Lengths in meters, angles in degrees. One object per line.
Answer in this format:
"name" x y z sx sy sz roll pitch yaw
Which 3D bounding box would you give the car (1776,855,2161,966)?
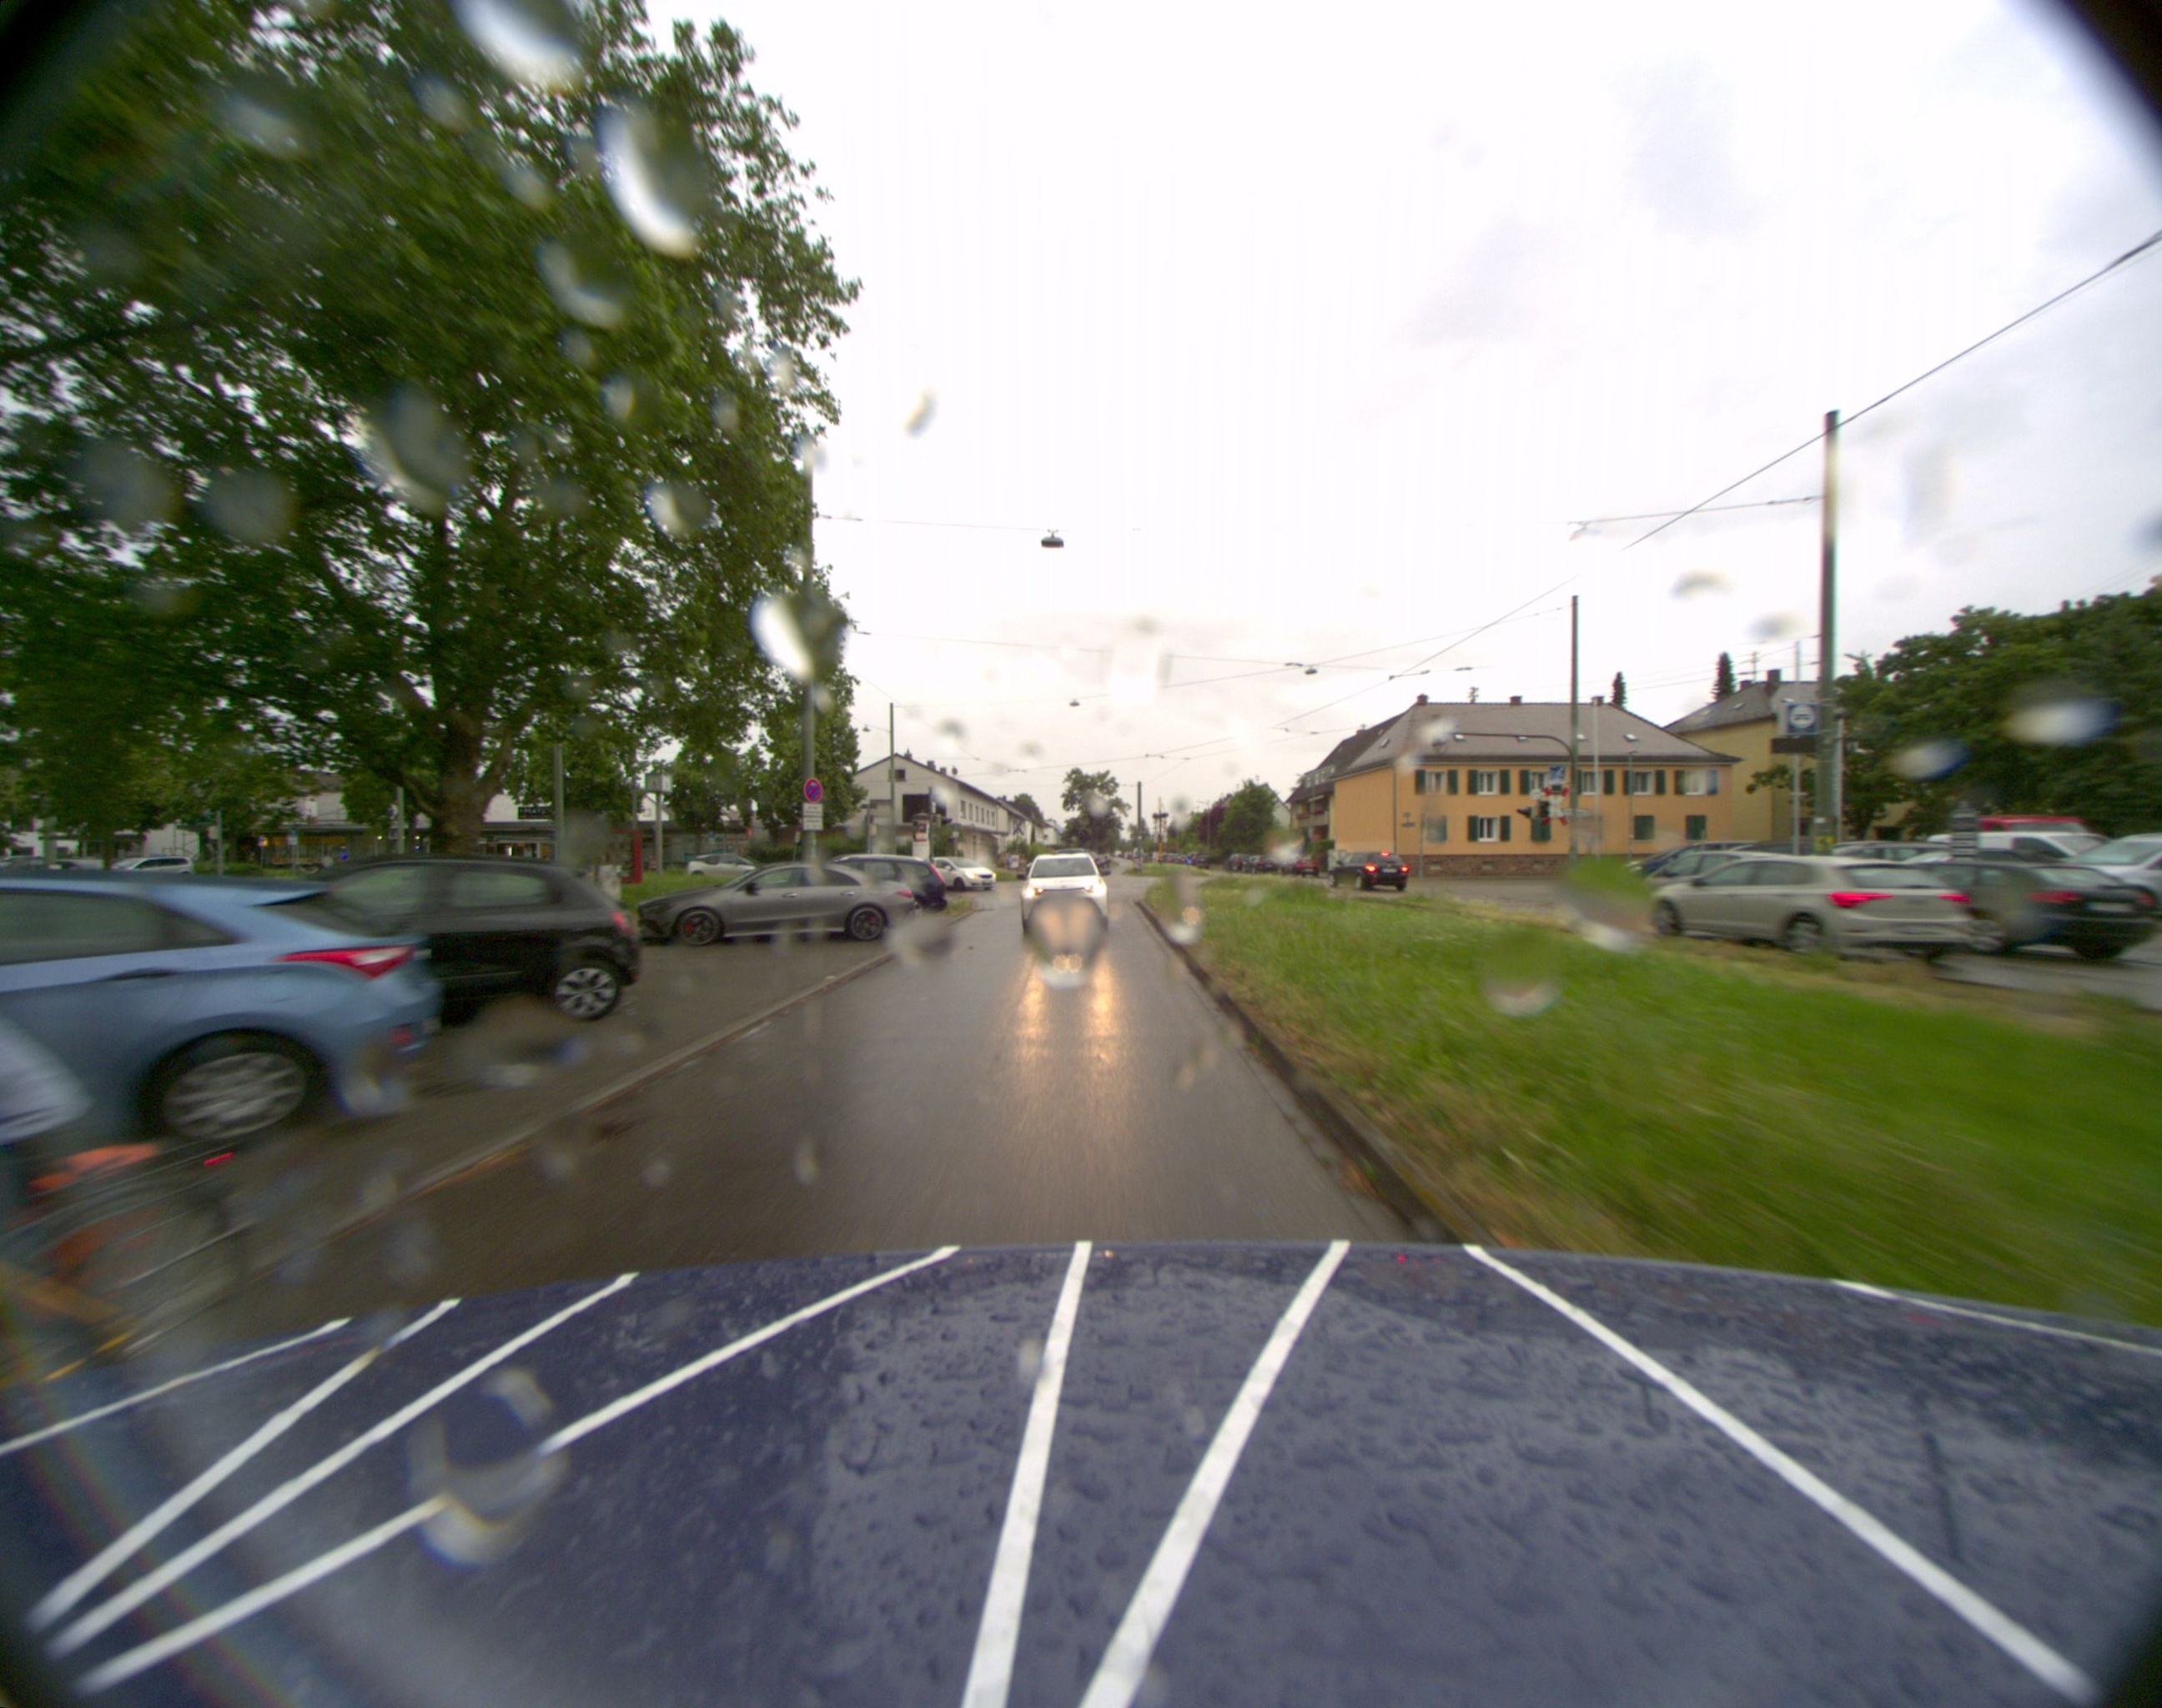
"car" 14.308 0.771 12.585 1.721 1.331 4.388 0 2 4

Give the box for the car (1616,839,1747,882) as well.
"car" 23.245 0.265 29.588 3.861 1.569 1.811 0 0 33

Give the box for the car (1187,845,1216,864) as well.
"car" 12.434 0.025 78.902 2.000 1.784 3.996 -1 3 -6

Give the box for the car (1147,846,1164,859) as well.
"car" 10.690 -0.224 109.263 1.999 1.784 3.998 0 3 -1

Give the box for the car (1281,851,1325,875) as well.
"car" 14.533 0.573 49.941 1.722 1.331 3.614 0 3 -2

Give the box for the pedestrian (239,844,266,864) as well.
"pedestrian" -65.828 -0.038 60.386 0.946 1.575 1.081 1 1 13

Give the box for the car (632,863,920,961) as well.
"car" -5.395 0.924 13.700 4.556 1.467 1.800 0 0 -28

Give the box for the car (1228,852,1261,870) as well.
"car" 13.895 0.542 64.768 1.759 1.325 3.997 0 3 -2

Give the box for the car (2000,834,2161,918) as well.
"car" 21.311 0.416 14.923 3.865 1.569 1.809 0 0 12

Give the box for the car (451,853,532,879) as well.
"car" -36.835 0.711 47.572 3.625 1.495 1.549 -1 3 -15

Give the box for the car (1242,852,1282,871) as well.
"car" 13.957 0.526 58.771 1.966 1.388 4.504 0 1 -1

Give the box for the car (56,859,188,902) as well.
"car" -47.414 1.290 37.642 3.996 2.003 1.999 0 3 3

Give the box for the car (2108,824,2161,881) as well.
"car" 32.728 -0.040 21.286 1.998 1.677 4.448 1 0 3

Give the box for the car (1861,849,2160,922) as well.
"car" 21.562 0.663 17.872 4.049 1.496 1.835 1 3 18

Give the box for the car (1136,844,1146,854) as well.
"car" 12.262 -1.065 155.584 1.998 2.023 3.998 0 3 1

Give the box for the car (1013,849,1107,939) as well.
"car" -0.325 0.750 16.260 1.719 1.614 3.714 -2 1 2

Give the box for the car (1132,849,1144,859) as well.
"car" 11.068 0.016 148.467 1.999 1.784 3.998 0 3 -1

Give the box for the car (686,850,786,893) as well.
"car" -17.126 0.858 37.871 3.996 2.003 1.999 0 3 2

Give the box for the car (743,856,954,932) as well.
"car" -5.137 0.792 16.871 4.183 1.467 1.800 0 0 -29

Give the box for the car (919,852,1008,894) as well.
"car" -5.123 0.761 32.715 1.968 1.544 3.987 0 2 -40

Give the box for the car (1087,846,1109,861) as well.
"car" 1.848 -0.077 81.356 1.787 1.454 4.002 0 3 11

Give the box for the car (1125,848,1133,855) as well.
"car" 13.495 -0.804 214.428 1.999 1.784 3.998 0 3 -1

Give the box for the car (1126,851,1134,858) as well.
"car" 12.999 0.108 201.638 1.999 1.784 3.998 0 3 -1

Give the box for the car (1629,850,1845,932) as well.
"car" 14.302 0.726 16.870 1.721 1.496 3.643 0 3 3

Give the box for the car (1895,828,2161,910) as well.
"car" 25.641 0.356 20.831 1.998 2.002 4.448 1 0 3

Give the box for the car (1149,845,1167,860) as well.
"car" 10.283 -0.256 101.593 1.999 1.784 3.998 0 3 -1

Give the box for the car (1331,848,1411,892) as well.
"car" 11.344 0.572 30.021 1.740 1.478 3.999 0 3 2

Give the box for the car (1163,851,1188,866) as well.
"car" 9.535 0.411 76.805 1.999 1.467 3.999 0 0 -1

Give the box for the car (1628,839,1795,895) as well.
"car" 20.393 0.394 24.815 3.988 1.707 2.004 0 0 33

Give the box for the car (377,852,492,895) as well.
"car" -32.251 0.944 37.977 3.996 2.003 1.999 0 3 3

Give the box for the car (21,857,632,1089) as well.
"car" -6.154 0.840 6.816 3.524 1.497 1.749 1 1 -35

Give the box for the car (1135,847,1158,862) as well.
"car" 6.690 0.065 78.337 1.999 1.467 3.999 0 0 -1

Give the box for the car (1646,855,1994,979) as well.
"car" 10.793 0.800 11.561 1.604 1.416 3.819 0 3 2

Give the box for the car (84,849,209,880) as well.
"car" -55.946 0.587 45.626 1.998 1.664 4.337 -1 2 1

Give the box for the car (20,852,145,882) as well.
"car" -60.176 0.738 45.917 1.998 1.562 4.090 -1 2 1

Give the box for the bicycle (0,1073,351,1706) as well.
"bicycle" -2.580 1.173 1.262 0.754 1.066 1.928 0 -1 7

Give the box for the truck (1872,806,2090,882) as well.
"truck" 30.099 -0.319 25.796 1.995 2.259 6.112 1 0 21

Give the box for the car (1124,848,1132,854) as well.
"car" 13.586 -0.853 221.259 1.999 1.784 3.998 0 3 -1

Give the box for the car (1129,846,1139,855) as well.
"car" 12.314 -0.793 177.402 1.999 1.784 3.998 0 3 -1

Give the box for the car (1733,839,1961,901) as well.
"car" 20.977 0.370 21.079 4.047 1.496 1.836 1 3 29

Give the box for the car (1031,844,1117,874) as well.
"car" -0.395 0.255 44.032 4.562 1.597 2.002 1 3 20

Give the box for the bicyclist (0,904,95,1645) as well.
"bicyclist" -2.576 0.845 1.281 0.752 1.476 0.847 0 0 7

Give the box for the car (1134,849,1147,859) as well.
"car" 10.749 -0.013 137.731 1.999 1.784 3.998 0 3 -1

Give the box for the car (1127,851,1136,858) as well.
"car" 12.970 0.073 196.674 1.999 1.784 3.998 0 3 -1

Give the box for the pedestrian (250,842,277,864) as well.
"pedestrian" -64.626 -0.099 60.062 0.946 1.704 1.081 1 1 13

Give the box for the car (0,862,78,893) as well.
"car" -65.185 1.407 46.578 1.897 1.700 4.090 -1 2 1

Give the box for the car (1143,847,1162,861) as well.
"car" 8.885 -0.054 94.809 1.998 1.578 3.998 0 3 1

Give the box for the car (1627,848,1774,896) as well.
"car" 21.756 0.599 26.908 3.861 1.569 1.811 0 0 33

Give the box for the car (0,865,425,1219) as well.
"car" -5.909 0.839 3.699 4.009 1.492 1.819 3 0 -39

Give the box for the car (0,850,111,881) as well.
"car" -62.805 0.688 46.345 1.897 1.700 4.090 -1 2 1
